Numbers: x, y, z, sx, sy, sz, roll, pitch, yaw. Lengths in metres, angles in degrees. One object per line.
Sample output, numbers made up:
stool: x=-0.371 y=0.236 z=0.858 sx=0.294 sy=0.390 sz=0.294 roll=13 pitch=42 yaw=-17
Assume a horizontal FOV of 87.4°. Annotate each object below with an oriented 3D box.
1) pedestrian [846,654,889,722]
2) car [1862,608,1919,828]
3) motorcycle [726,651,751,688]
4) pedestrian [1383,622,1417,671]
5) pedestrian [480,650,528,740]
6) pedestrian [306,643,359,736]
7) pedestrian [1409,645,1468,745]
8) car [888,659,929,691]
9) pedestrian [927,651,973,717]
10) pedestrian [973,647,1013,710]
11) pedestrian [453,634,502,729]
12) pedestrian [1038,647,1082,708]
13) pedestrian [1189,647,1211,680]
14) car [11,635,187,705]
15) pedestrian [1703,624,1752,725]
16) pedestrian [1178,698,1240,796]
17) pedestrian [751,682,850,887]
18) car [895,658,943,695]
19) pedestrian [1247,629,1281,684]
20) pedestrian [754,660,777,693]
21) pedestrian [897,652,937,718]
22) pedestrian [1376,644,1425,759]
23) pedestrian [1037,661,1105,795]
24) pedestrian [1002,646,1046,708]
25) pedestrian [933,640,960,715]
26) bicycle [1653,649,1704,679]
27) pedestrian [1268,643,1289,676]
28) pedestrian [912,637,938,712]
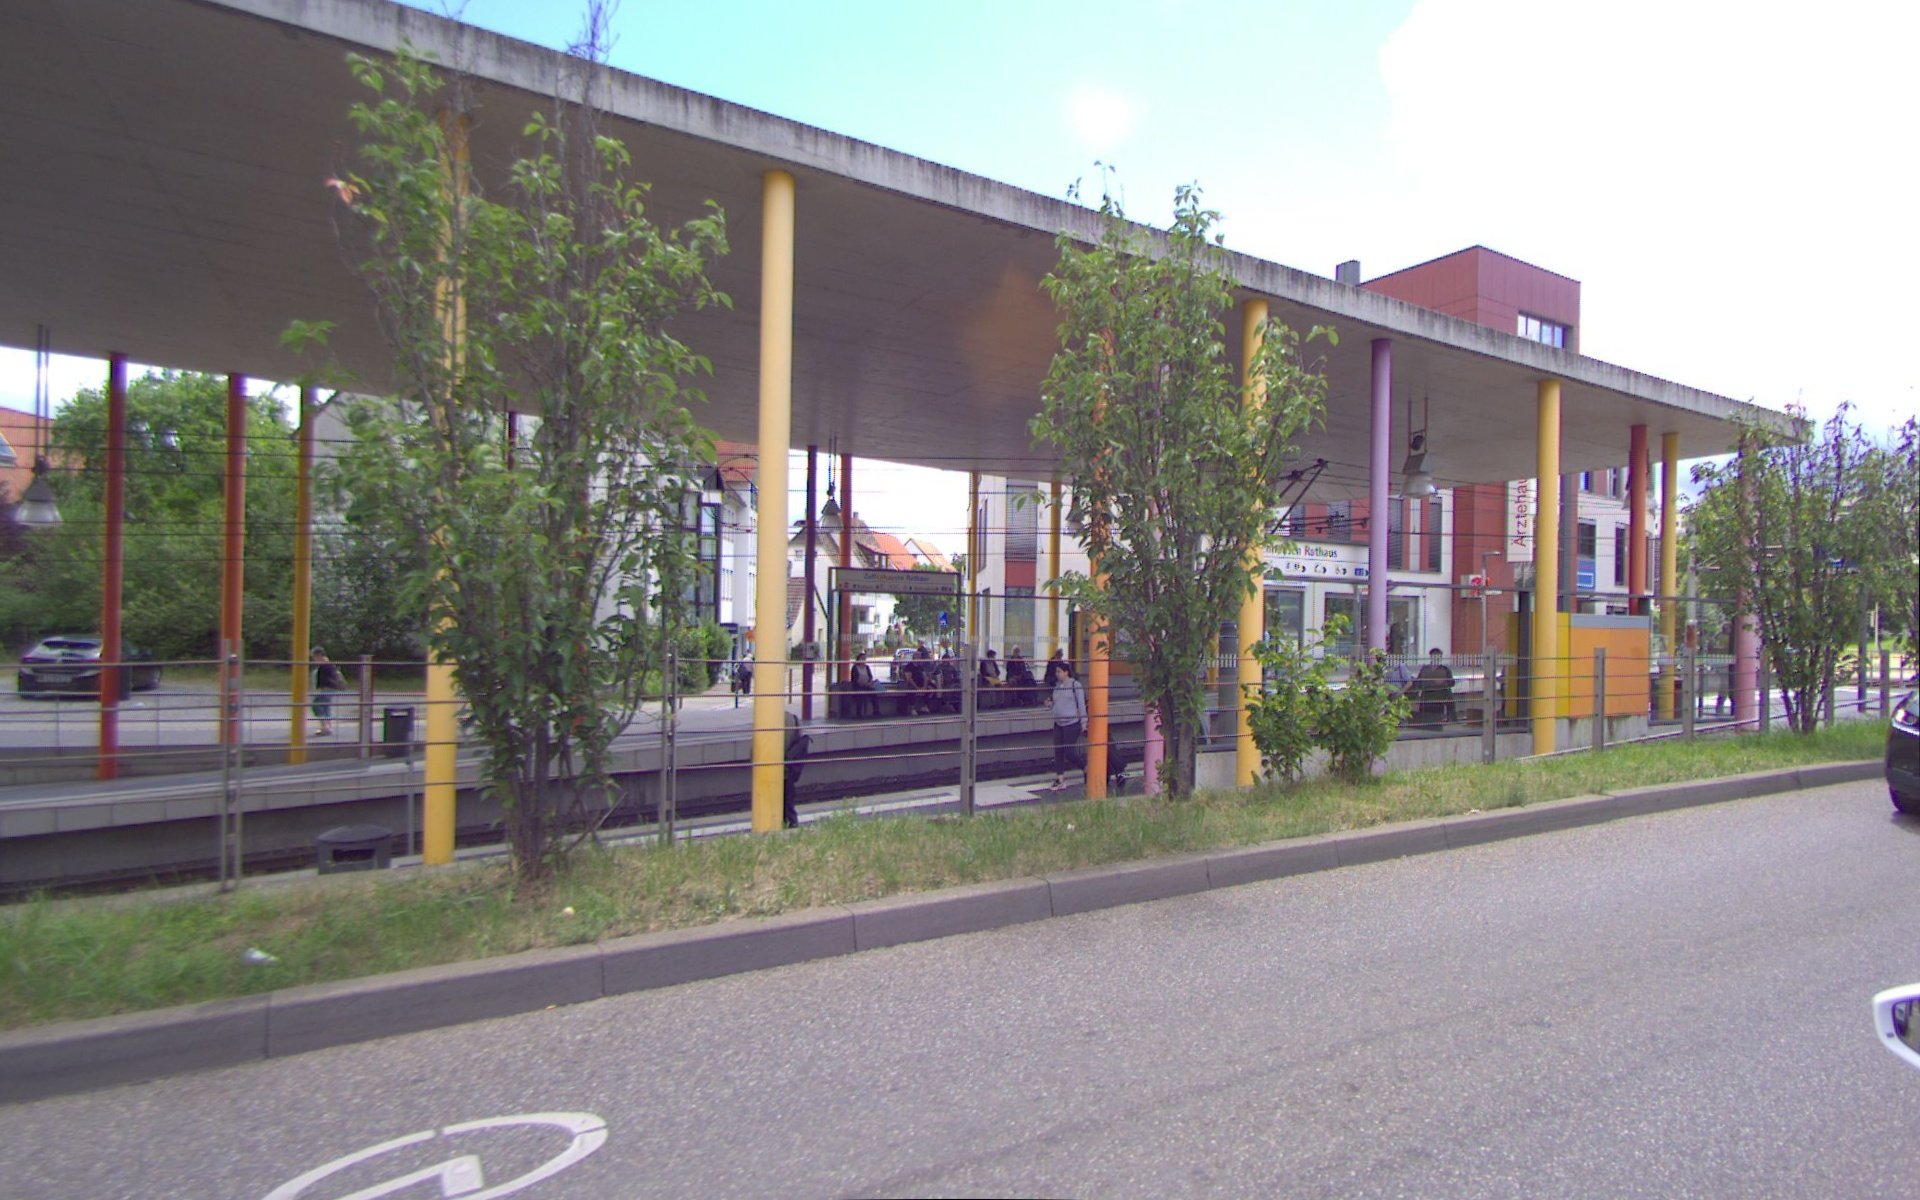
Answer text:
pedestrian: x=-2.027 y=1.907 z=21.970 sx=0.696 sy=1.397 sz=0.683 roll=0 pitch=1 yaw=-29
car: x=8.881 y=0.913 z=7.691 sx=4.205 sy=1.541 sz=1.716 roll=2 pitch=1 yaw=-31
motorcycle: x=-8.364 y=2.614 z=37.988 sx=0.503 sy=1.356 sz=1.567 roll=0 pitch=-3 yaw=3
pedestrian: x=15.517 y=1.647 z=35.428 sx=0.833 sy=1.671 sz=0.653 roll=3 pitch=-1 yaw=-30
pedestrian: x=-8.960 y=1.853 z=19.712 sx=0.722 sy=1.683 sz=0.639 roll=3 pitch=-1 yaw=-30
pedestrian: x=-11.808 y=1.683 z=18.917 sx=0.722 sy=1.683 sz=0.639 roll=3 pitch=-1 yaw=-30
pedestrian: x=7.673 y=1.510 z=16.134 sx=0.741 sy=1.547 sz=0.686 roll=-2 pitch=0 yaw=19
car: x=-2.416 y=3.428 z=46.116 sx=1.617 sy=1.341 sz=3.716 roll=3 pitch=-4 yaw=-6
pedestrian: x=-0.227 y=1.880 z=22.814 sx=0.693 sy=1.397 sz=0.923 roll=0 pitch=1 yaw=-29
pedestrian: x=0.777 y=1.829 z=23.436 sx=0.693 sy=1.397 sz=0.648 roll=0 pitch=1 yaw=-29
pedestrian: x=-10.034 y=1.695 z=20.893 sx=0.791 sy=1.908 sz=0.639 roll=3 pitch=-1 yaw=-30
pedestrian: x=2.409 y=1.861 z=24.259 sx=0.693 sy=1.397 sz=0.819 roll=0 pitch=1 yaw=-29
pedestrian: x=7.827 y=2.066 z=32.778 sx=0.555 sy=1.036 sz=0.362 roll=3 pitch=-1 yaw=-28
car: x=-20.686 y=1.639 z=24.348 sx=1.544 sy=1.354 sz=3.988 roll=3 pitch=-1 yaw=-14
pedestrian: x=14.776 y=1.410 z=19.335 sx=0.725 sy=1.870 sz=0.780 roll=1 pitch=1 yaw=39
pedestrian: x=3.066 y=1.788 z=12.375 sx=0.478 sy=1.097 sz=0.562 roll=0 pitch=1 yaw=-30
pedestrian: x=-1.554 y=1.754 z=9.754 sx=0.701 sy=1.854 sz=0.584 roll=3 pitch=-1 yaw=-28
car: x=-1.706 y=3.088 z=40.611 sx=1.617 sy=1.341 sz=3.716 roll=3 pitch=-4 yaw=-6
pedestrian: x=9.691 y=1.802 z=32.025 sx=0.715 sy=1.707 sz=0.681 roll=3 pitch=-1 yaw=-27
pedestrian: x=-7.586 y=2.989 z=39.166 sx=0.693 sy=1.203 sz=0.546 roll=3 pitch=-1 yaw=5
pedestrian: x=-0.966 y=1.893 z=22.525 sx=0.693 sy=1.397 sz=0.648 roll=0 pitch=1 yaw=-29
pedestrian: x=6.605 y=1.500 z=15.078 sx=0.522 sy=1.655 sz=0.548 roll=1 pitch=1 yaw=9
pedestrian: x=1.436 y=1.635 z=13.046 sx=0.628 sy=1.636 sz=0.627 roll=0 pitch=1 yaw=-29
pedestrian: x=1.517 y=1.811 z=23.819 sx=0.693 sy=1.397 sz=0.819 roll=0 pitch=1 yaw=-29
pedestrian: x=-0.331 y=1.890 z=24.758 sx=0.486 sy=1.799 sz=0.480 roll=0 pitch=1 yaw=-32
bicycle: x=27.379 y=2.417 z=38.289 sx=0.404 sy=1.115 sz=1.558 roll=3 pitch=-4 yaw=-31
pedestrian: x=10.024 y=1.862 z=31.585 sx=0.486 sy=1.003 sz=0.362 roll=3 pitch=-1 yaw=-28
pedestrian: x=-0.902 y=1.893 z=25.659 sx=0.486 sy=1.845 sz=0.480 roll=0 pitch=1 yaw=-32
